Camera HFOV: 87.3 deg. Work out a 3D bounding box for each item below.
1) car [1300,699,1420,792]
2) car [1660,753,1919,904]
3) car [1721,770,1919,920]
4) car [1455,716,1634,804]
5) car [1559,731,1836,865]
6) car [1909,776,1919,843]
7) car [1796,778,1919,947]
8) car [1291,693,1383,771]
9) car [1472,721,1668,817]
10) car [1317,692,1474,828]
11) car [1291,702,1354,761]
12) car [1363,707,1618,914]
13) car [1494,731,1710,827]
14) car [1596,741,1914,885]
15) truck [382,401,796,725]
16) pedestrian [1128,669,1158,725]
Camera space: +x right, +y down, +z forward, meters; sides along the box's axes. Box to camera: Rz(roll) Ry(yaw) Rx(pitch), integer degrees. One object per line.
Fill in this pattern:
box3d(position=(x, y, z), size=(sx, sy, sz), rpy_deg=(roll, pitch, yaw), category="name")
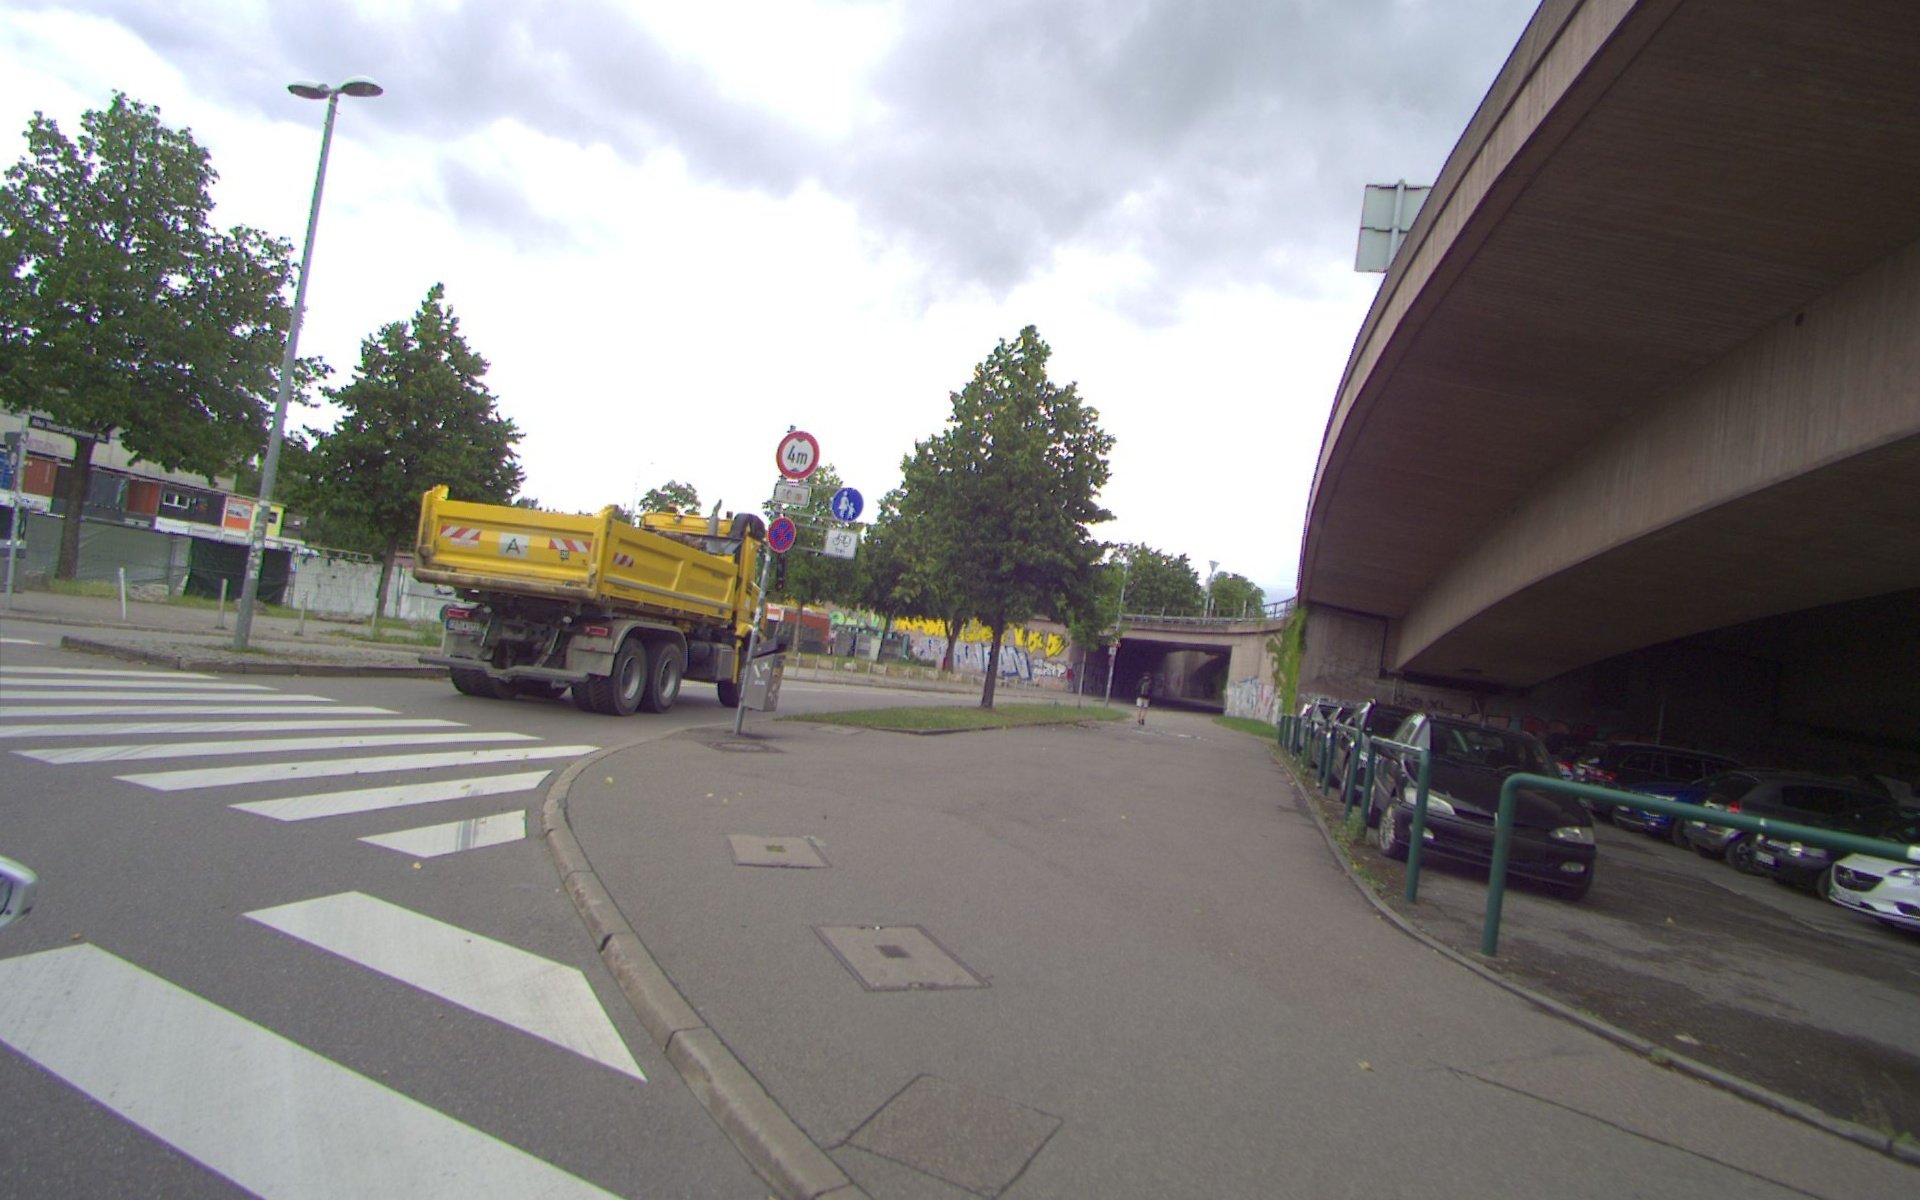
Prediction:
box3d(position=(7.731, 2.757, 19.793), size=(1.739, 1.336, 4.381), rpy_deg=(8, -3, 18), category="car")
box3d(position=(13.116, 3.455, 15.080), size=(3.788, 1.573, 1.701), rpy_deg=(8, -2, 13), category="car")
box3d(position=(12.595, 3.351, 13.107), size=(3.788, 1.460, 1.701), rpy_deg=(8, -2, 13), category="car")
box3d(position=(16.156, 4.394, 28.014), size=(3.788, 1.656, 1.761), rpy_deg=(8, -2, 13), category="car")
box3d(position=(14.093, 3.746, 19.463), size=(3.788, 1.713, 1.761), rpy_deg=(8, -2, 13), category="car")
box3d(position=(28.106, 5.989, 26.712), size=(3.595, 1.808, 1.886), rpy_deg=(8, -2, 20), category="car")
box3d(position=(11.650, 3.067, 10.670), size=(3.788, 1.526, 1.701), rpy_deg=(8, -2, 13), category="car")
box3d(position=(9.377, 3.239, 25.292), size=(1.586, 1.552, 4.076), rpy_deg=(8, -3, 15), category="car")
box3d(position=(15.600, 4.294, 25.932), size=(3.788, 1.656, 1.761), rpy_deg=(8, -2, 13), category="car")
box3d(position=(6.223, 2.223, 14.783), size=(1.482, 1.435, 4.256), rpy_deg=(9, -3, 18), category="car")
box3d(position=(10.961, 3.943, 30.542), size=(1.550, 1.455, 3.382), rpy_deg=(8, -3, 19), category="car")
box3d(position=(4.914, 1.843, 9.786), size=(1.482, 1.344, 3.705), rpy_deg=(9, -3, 20), category="car")
box3d(position=(15.064, 4.174, 23.813), size=(3.788, 1.454, 1.761), rpy_deg=(8, -2, 13), category="car")
box3d(position=(13.552, 3.586, 17.406), size=(3.788, 1.573, 1.761), rpy_deg=(8, -2, 13), category="car")
box3d(position=(-5.319, -0.239, 16.546), size=(2.715, 3.739, 7.892), rpy_deg=(8, -3, 6), category="truck")
box3d(position=(6.660, 3.521, 36.601), size=(0.723, 1.928, 0.826), rpy_deg=(7, -2, 17), category="pedestrian")
